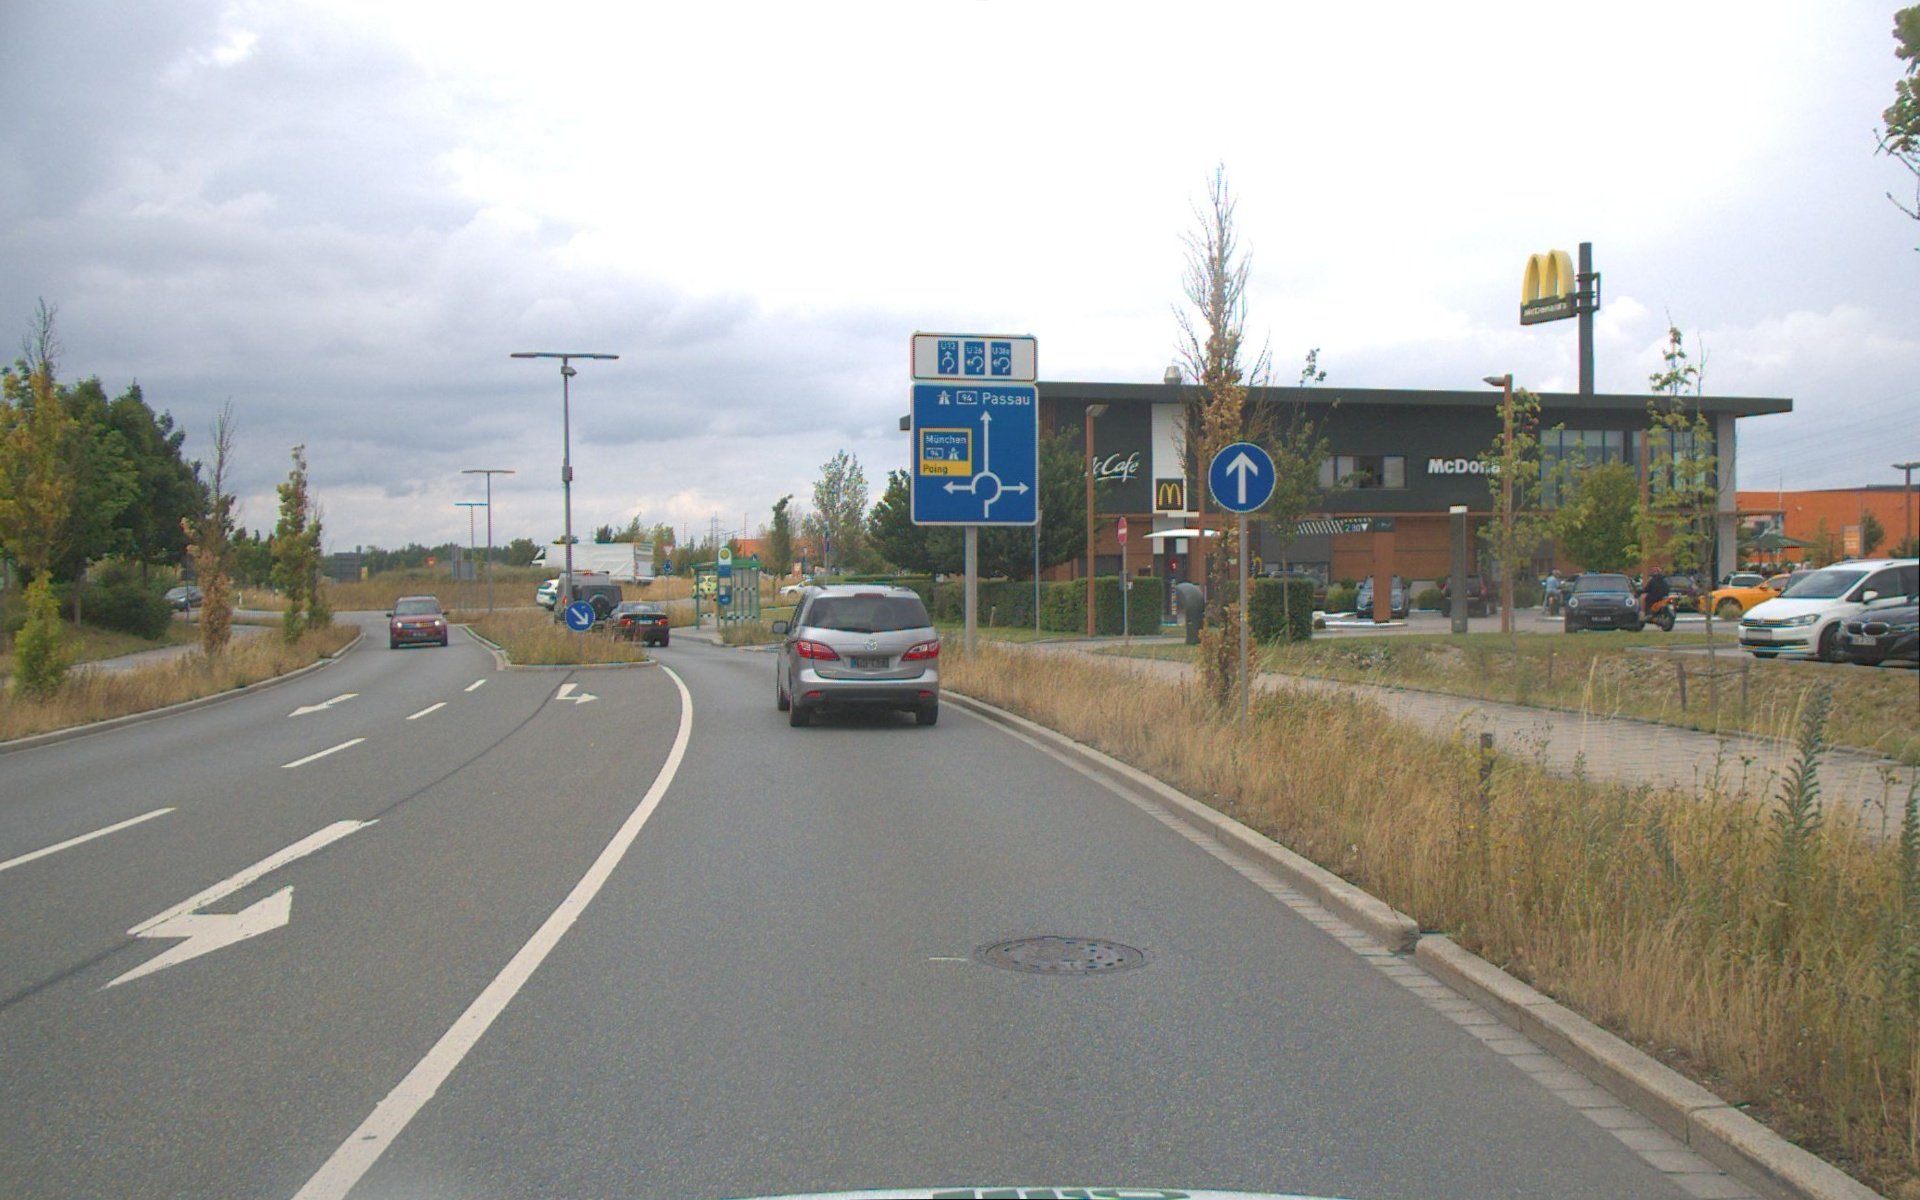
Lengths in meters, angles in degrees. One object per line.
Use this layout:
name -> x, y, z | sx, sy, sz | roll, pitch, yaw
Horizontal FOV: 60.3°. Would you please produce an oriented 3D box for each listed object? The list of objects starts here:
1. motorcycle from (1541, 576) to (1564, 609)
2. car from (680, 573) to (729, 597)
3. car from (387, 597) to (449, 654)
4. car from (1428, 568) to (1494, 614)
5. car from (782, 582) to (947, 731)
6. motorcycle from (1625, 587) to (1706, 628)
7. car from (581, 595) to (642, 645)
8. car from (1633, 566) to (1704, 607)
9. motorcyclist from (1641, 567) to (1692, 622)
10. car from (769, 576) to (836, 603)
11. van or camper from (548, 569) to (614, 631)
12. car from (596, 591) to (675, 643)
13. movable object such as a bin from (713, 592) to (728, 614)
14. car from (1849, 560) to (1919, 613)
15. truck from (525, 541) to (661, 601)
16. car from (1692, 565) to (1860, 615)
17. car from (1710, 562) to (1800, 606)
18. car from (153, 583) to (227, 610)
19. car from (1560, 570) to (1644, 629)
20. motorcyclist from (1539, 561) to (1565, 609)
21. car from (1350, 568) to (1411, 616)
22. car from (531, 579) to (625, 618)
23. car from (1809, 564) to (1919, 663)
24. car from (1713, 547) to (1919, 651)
motorcycle -> 23.066, -0.282, 64.420 | 0.838, 1.266, 1.967 | 0, 0, 20
car -> -17.021, -0.993, 110.139 | 1.972, 1.542, 3.962 | -1, 0, -29
car -> -17.964, 0.803, 54.735 | 1.772, 1.698, 4.302 | -4, 1, -20
car -> 19.579, -0.352, 64.492 | 2.073, 1.747, 4.230 | 0, 1, 22
car -> -1.240, 0.600, 20.026 | 1.697, 1.628, 3.800 | 0, 0, -8
motorcycle -> 17.696, 0.178, 41.533 | 0.730, 1.002, 1.807 | -1, 0, -28
car -> -13.713, 0.731, 64.890 | 2.025, 1.857, 4.766 | -1, 0, -16
car -> 28.553, -0.558, 66.781 | 1.951, 1.609, 4.004 | 0, 1, 13
motorcyclist -> 17.713, -0.142, 41.452 | 0.770, 1.357, 0.888 | -1, 0, -28
car -> -10.869, -0.748, 114.201 | 4.516, 1.788, 1.996 | -1, 0, -8
van or camper -> -16.390, -0.027, 71.325 | 2.268, 2.549, 5.177 | 0, 0, -19
car -> -9.954, 0.478, 50.473 | 1.817, 1.443, 4.202 | -1, 1, -19
movable object such as a bin -> -8.691, 0.110, 59.991 | 0.449, 0.812, 0.378 | -1, 0, -19
car -> 32.117, -0.468, 54.635 | 4.622, 1.685, 2.000 | -1, 0, 23
truck -> -25.863, -2.005, 116.460 | 9.114, 3.975, 3.143 | -1, 0, 22
car -> 25.631, -0.305, 52.124 | 4.624, 1.468, 1.999 | -1, 0, 25
car -> 32.634, -0.664, 67.866 | 3.964, 1.752, 1.970 | -1, 1, -41
car -> -46.248, -0.240, 99.415 | 1.802, 1.431, 4.003 | -2, 1, 17
car -> 15.496, -0.043, 39.993 | 1.774, 1.336, 3.850 | -1, 1, 21
motorcyclist -> 23.061, -0.585, 64.433 | 0.941, 1.864, 0.845 | 0, 0, 20
car -> 16.074, -0.320, 63.052 | 1.952, 1.747, 4.002 | 0, 1, 19
car -> -20.770, -0.097, 90.047 | 4.577, 2.049, 1.973 | -1, 0, -38
car -> 16.085, 0.150, 26.265 | 4.393, 1.461, 2.066 | -1, 1, -15
car -> 15.528, -0.060, 28.717 | 4.278, 1.668, 1.929 | -1, 1, -17
